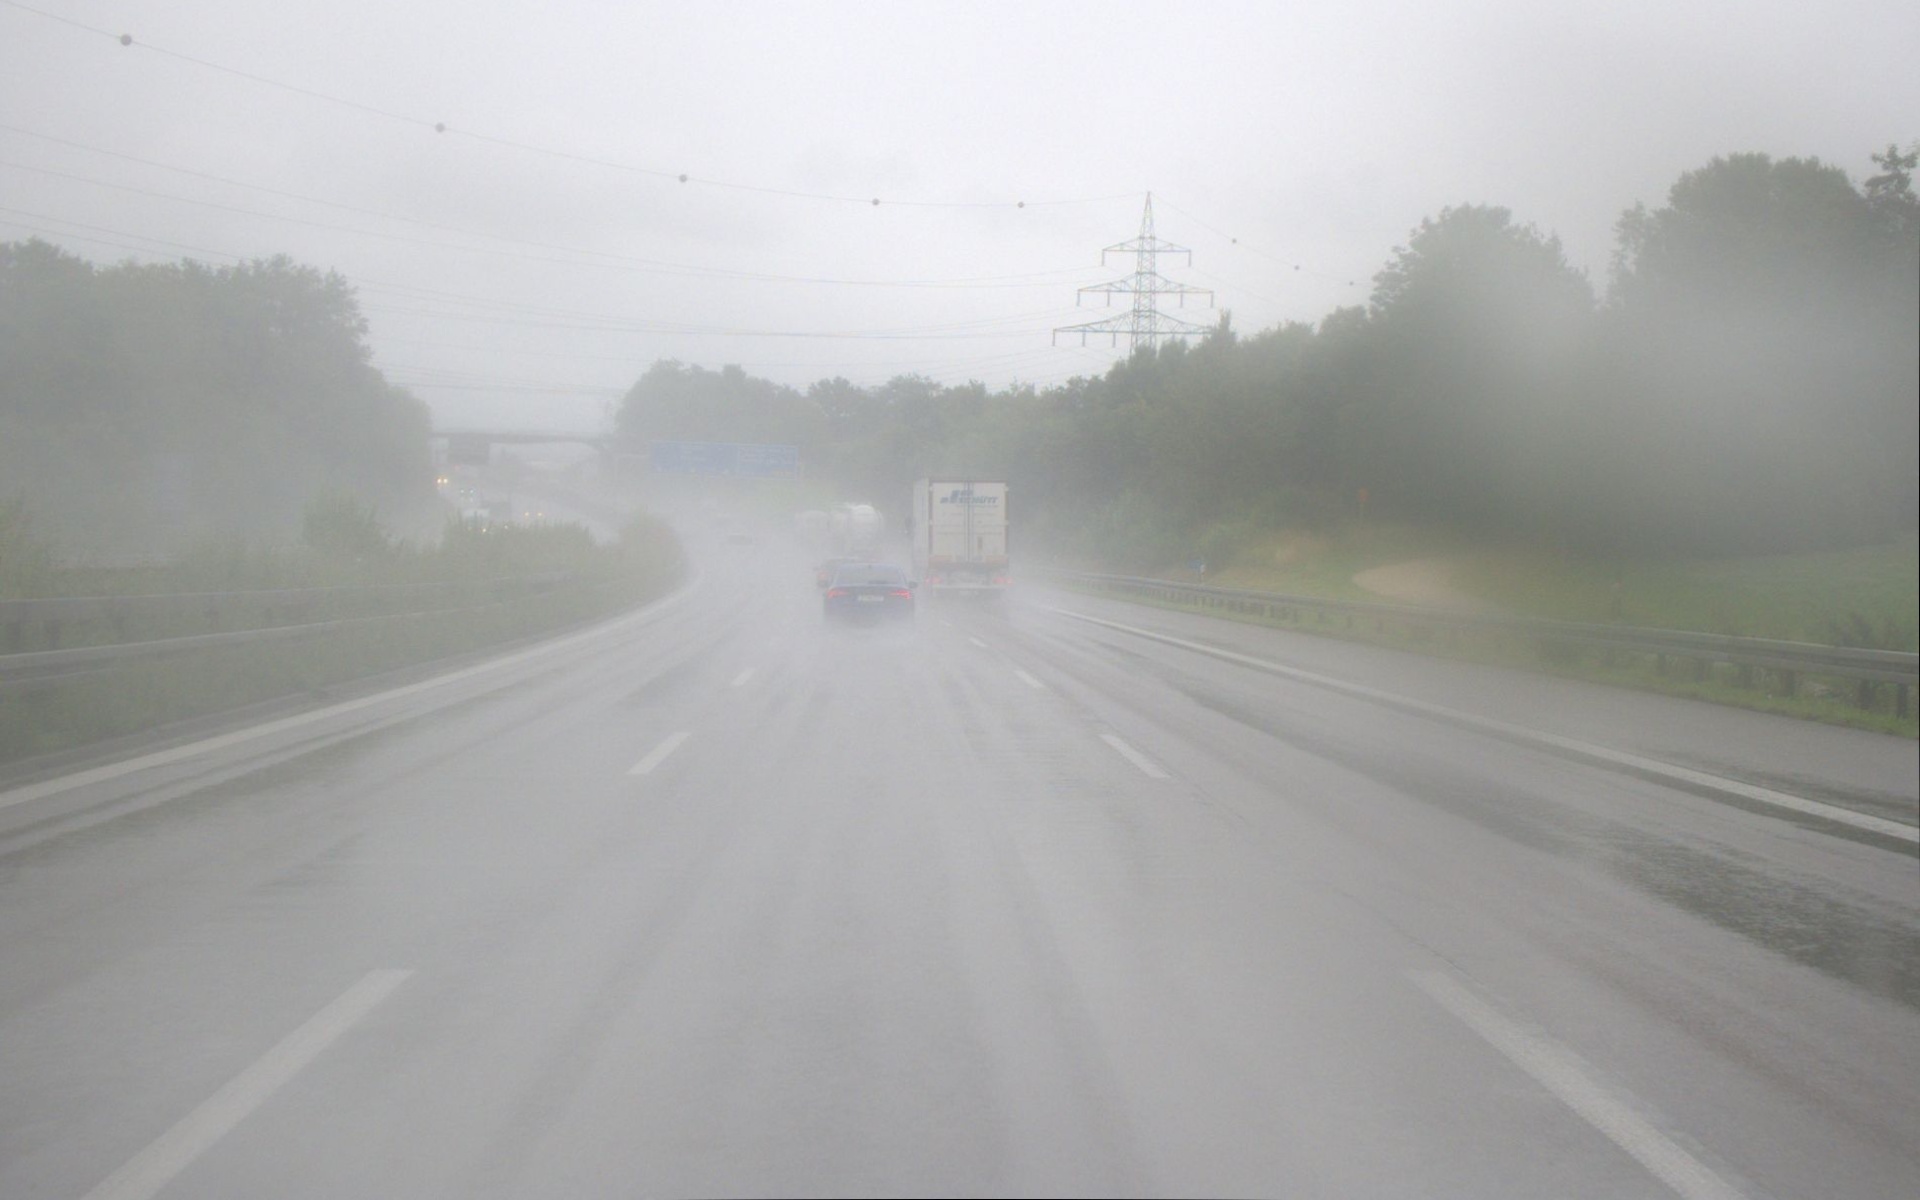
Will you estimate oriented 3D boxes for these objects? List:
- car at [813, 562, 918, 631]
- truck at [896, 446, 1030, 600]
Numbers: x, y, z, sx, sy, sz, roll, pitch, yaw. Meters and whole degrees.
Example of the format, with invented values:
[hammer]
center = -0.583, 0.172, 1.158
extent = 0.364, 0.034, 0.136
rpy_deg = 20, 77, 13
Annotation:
[car]
center = -1.829, -0.089, 67.571
extent = 1.749, 1.208, 4.000
rpy_deg = 4, 1, 2
[truck]
center = 0.285, -2.679, 119.164
extent = 4.257, 4.955, 17.341
rpy_deg = 0, 1, 1
